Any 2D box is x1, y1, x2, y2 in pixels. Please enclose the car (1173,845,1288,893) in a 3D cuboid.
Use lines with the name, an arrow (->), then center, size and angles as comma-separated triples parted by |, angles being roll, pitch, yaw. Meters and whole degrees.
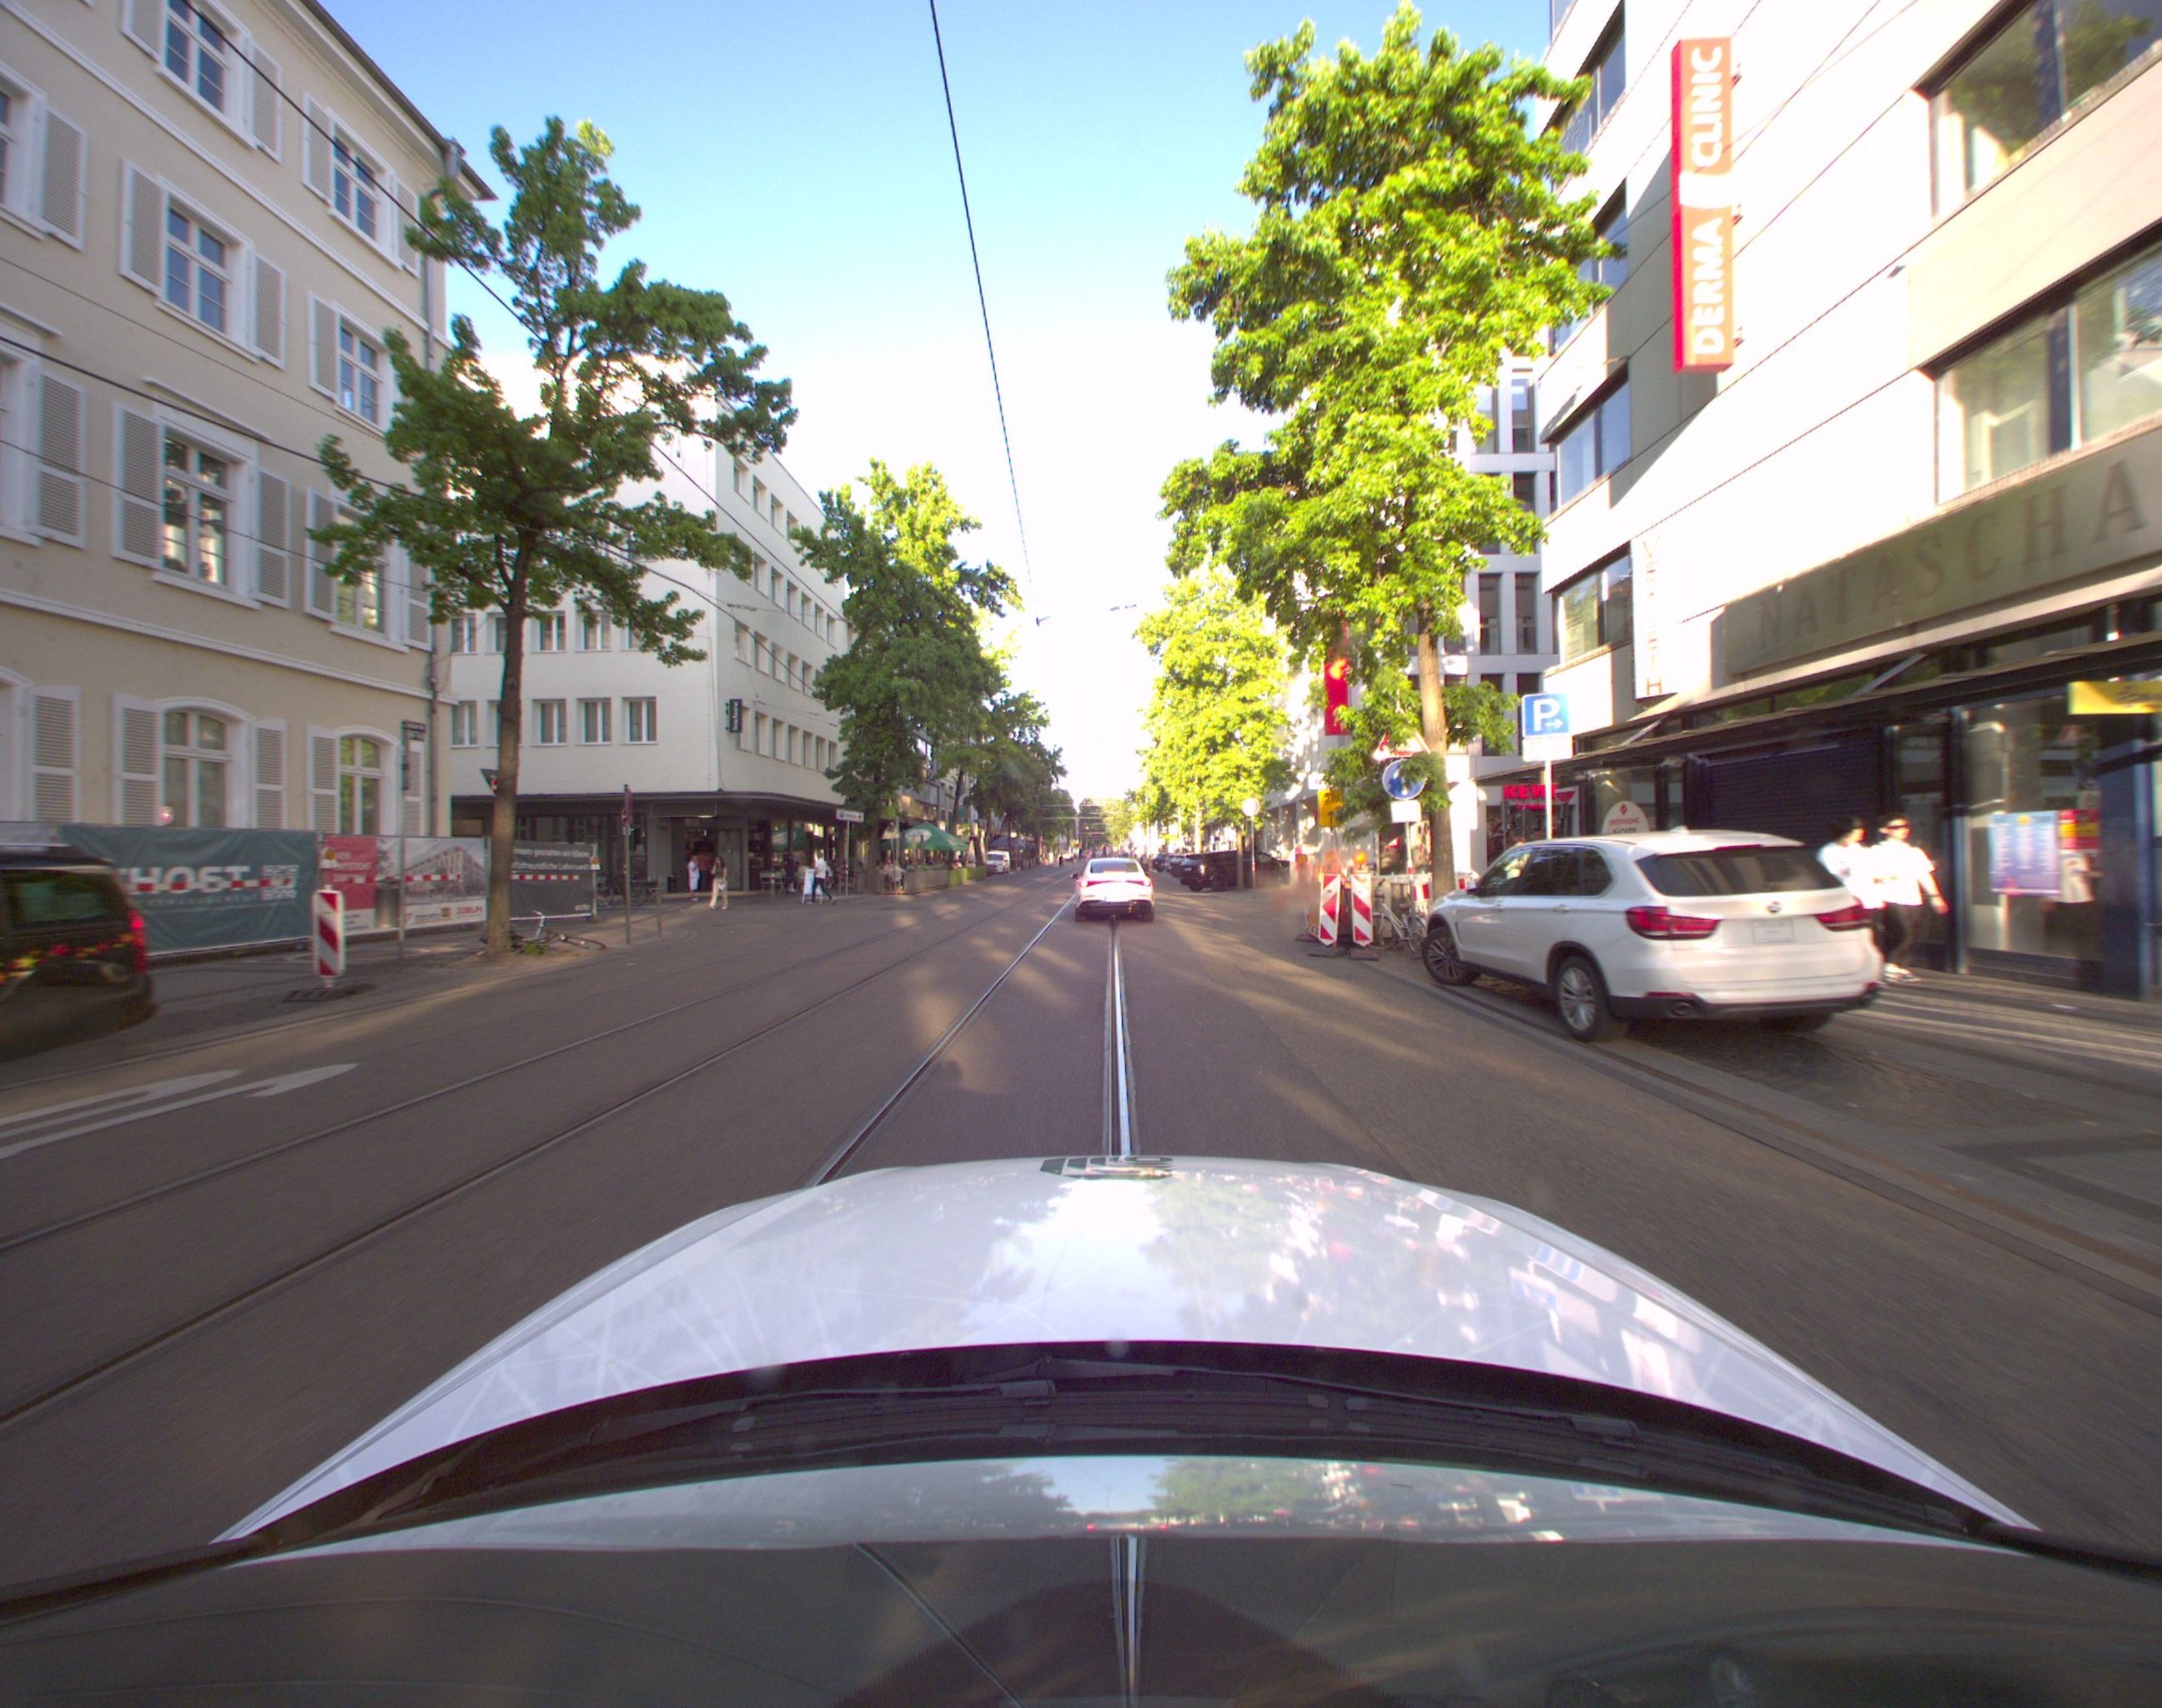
car -> 6.571, 0.635, 35.655 | 4.678, 1.763, 1.976 | -3, 0, -28

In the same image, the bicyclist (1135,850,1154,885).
bicyclist -> 3.007, 0.618, 38.398 | 0.772, 1.613, 0.915 | 1, 0, 11

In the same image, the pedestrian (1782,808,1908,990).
pedestrian -> 8.029, 0.458, 8.585 | 0.702, 1.830, 0.635 | -1, 0, 1

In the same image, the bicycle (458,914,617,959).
bicycle -> -9.073, 1.368, 13.686 | 1.787, 0.609, 1.284 | 0, 0, 5

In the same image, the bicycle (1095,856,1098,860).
bicycle -> 4.030, 1.021, 209.596 | 0.797, 1.142, 2.257 | 1, 0, 1

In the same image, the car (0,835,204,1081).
car -> -9.020, 0.771, 5.140 | 1.849, 1.832, 4.563 | 0, 0, 4

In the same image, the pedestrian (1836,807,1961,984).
pedestrian -> 8.791, 0.433, 8.785 | 0.685, 1.830, 0.635 | -1, 0, 1

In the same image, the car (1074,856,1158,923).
car -> 0.839, 0.792, 19.961 | 1.850, 1.455, 4.177 | 0, 0, 2

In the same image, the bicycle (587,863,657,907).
bicycle -> -14.996, 1.009, 26.633 | 1.866, 1.380, 0.713 | -1, 2, 3

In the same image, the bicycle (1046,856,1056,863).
bicycle -> -4.899, 0.891, 133.245 | 1.492, 1.029, 0.343 | 1, 0, -8

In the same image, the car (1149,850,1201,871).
car -> 8.343, 0.579, 72.115 | 4.369, 1.652, 1.678 | -3, 0, -29

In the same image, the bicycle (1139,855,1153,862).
bicycle -> 10.684, 0.780, 134.055 | 2.113, 1.096, 0.608 | 0, -1, -10

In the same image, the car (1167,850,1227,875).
car -> 8.638, 0.617, 60.711 | 4.174, 1.571, 1.836 | -3, 0, -31

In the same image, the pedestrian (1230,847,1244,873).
pedestrian -> 10.246, 0.390, 53.502 | 0.679, 1.696, 0.548 | -1, 0, -11

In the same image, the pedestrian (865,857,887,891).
pedestrian -> -8.668, 0.841, 34.476 | 0.686, 1.386, 0.807 | 1, 0, 3

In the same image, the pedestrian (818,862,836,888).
pedestrian -> -11.527, 0.940, 37.000 | 0.550, 1.161, 0.687 | 1, 0, 2

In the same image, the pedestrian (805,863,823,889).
pedestrian -> -12.067, 0.989, 36.813 | 0.550, 1.161, 0.687 | 1, 0, 2

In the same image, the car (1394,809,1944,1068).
car -> 5.157, 0.604, 8.288 | 2.016, 1.737, 4.907 | -3, 0, 1

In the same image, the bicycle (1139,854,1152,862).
bicycle -> 10.327, 0.672, 131.078 | 1.908, 1.281, 0.608 | -3, 0, -10

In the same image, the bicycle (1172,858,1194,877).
bicycle -> 6.774, 0.906, 54.027 | 0.475, 1.163, 1.705 | -4, -1, 41

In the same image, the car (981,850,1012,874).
car -> -6.896, 0.649, 67.060 | 1.788, 1.864, 4.557 | 2, 0, 3

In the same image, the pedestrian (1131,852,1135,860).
pedestrian -> 12.014, 0.459, 188.215 | 0.957, 1.785, 0.804 | -3, 0, 1

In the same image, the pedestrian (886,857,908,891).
pedestrian -> -7.783, 0.834, 34.528 | 0.686, 1.386, 0.807 | 1, 0, 3

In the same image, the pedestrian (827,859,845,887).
pedestrian -> -11.777, 0.903, 39.140 | 0.599, 1.298, 0.687 | 1, 0, 2

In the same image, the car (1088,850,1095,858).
car -> 3.461, 0.091, 261.175 | 1.902, 2.461, 5.278 | -1, 0, 3

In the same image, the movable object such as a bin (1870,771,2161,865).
movable object such as a bin -> 32.405, -1.119, 27.289 | 8.113, 2.910, 2.840 | -1, 0, 20

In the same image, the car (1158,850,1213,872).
car -> 8.748, 0.599, 68.133 | 4.262, 1.587, 1.866 | -3, 0, -29

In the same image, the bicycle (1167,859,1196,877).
bicycle -> 6.902, 0.937, 55.974 | 1.901, 1.119, 0.661 | -3, -1, -27

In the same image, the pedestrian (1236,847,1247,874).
pedestrian -> 10.602, 0.417, 53.781 | 0.521, 1.750, 0.559 | -3, 0, 4

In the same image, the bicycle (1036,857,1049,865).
bicycle -> -5.373, 0.928, 113.895 | 1.784, 1.077, 0.377 | 1, 0, -3

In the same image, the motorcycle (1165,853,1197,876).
motorcycle -> 7.057, 0.723, 57.539 | 2.332, 1.510, 0.849 | -3, -1, -42

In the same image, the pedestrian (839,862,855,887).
pedestrian -> -11.447, 1.005, 39.877 | 0.550, 1.161, 0.687 | 1, 0, 2

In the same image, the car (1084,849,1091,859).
car -> 1.993, 0.071, 242.620 | 1.985, 2.897, 5.278 | -1, 0, 3

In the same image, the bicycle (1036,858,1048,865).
bicycle -> -5.315, 1.001, 110.628 | 1.586, 0.930, 0.378 | 1, 0, 8

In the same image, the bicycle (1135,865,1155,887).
bicycle -> 3.044, 1.035, 38.627 | 0.714, 0.995, 2.065 | 1, 0, 11

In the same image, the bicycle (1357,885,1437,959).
bicycle -> 4.873, 1.021, 12.665 | 0.491, 0.981, 1.930 | -1, 0, 0
